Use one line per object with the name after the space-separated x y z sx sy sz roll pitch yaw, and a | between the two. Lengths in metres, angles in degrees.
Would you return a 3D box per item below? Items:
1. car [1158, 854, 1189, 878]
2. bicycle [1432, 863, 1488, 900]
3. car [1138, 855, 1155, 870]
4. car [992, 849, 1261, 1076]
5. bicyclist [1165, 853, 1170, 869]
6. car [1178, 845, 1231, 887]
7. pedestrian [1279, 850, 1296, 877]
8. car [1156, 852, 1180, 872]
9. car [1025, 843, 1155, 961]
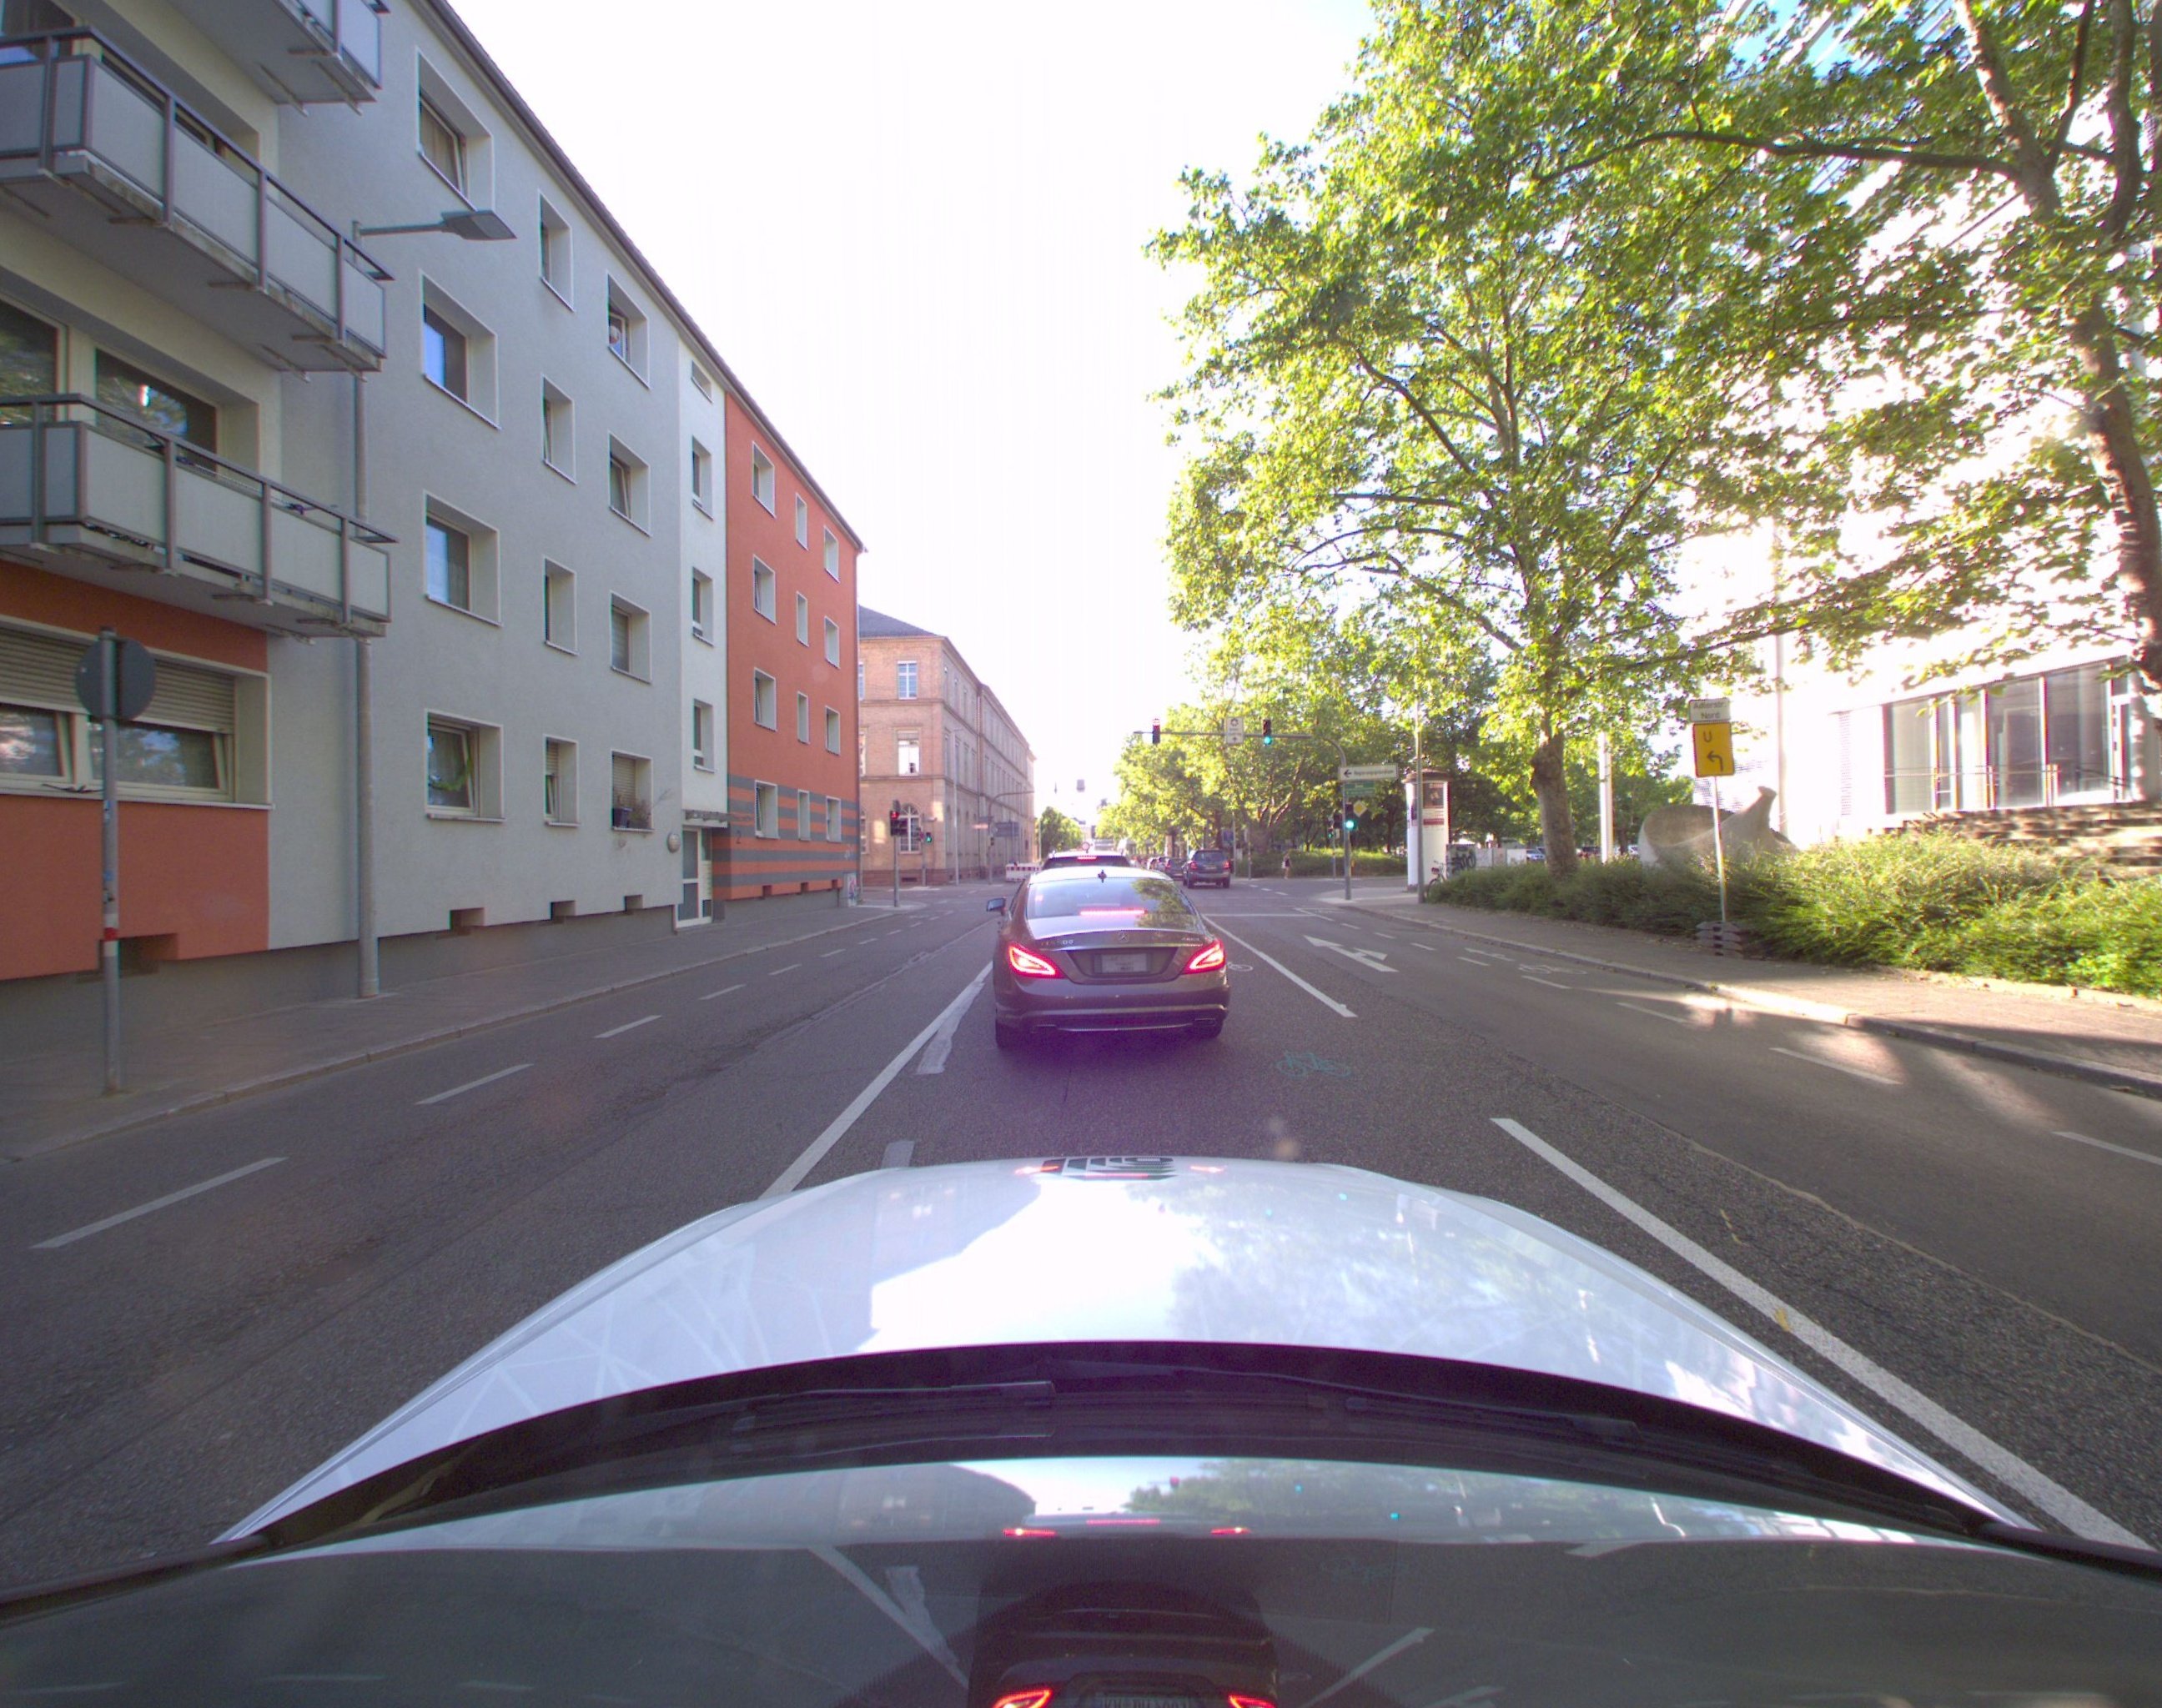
6.009 0.753 53.235 1.698 1.519 4.002 -1 0 2 | car
10.985 0.781 23.586 1.895 1.028 0.635 0 -1 -36 | bicycle
6.949 0.909 86.433 1.595 1.549 3.682 0 -1 2 | car
0.145 0.739 7.613 1.859 1.519 3.992 -1 0 -6 | car
11.137 0.847 104.943 0.593 2.039 0.566 0 -1 -2 | bicyclist
5.577 0.510 37.120 1.854 1.764 4.483 -1 0 2 | car
12.188 0.546 48.038 0.636 1.545 0.906 0 -1 -12 | pedestrian
7.249 0.657 67.855 1.725 1.662 3.682 0 -1 2 | car
0.193 0.697 13.747 1.854 1.682 4.002 -1 0 2 | car
